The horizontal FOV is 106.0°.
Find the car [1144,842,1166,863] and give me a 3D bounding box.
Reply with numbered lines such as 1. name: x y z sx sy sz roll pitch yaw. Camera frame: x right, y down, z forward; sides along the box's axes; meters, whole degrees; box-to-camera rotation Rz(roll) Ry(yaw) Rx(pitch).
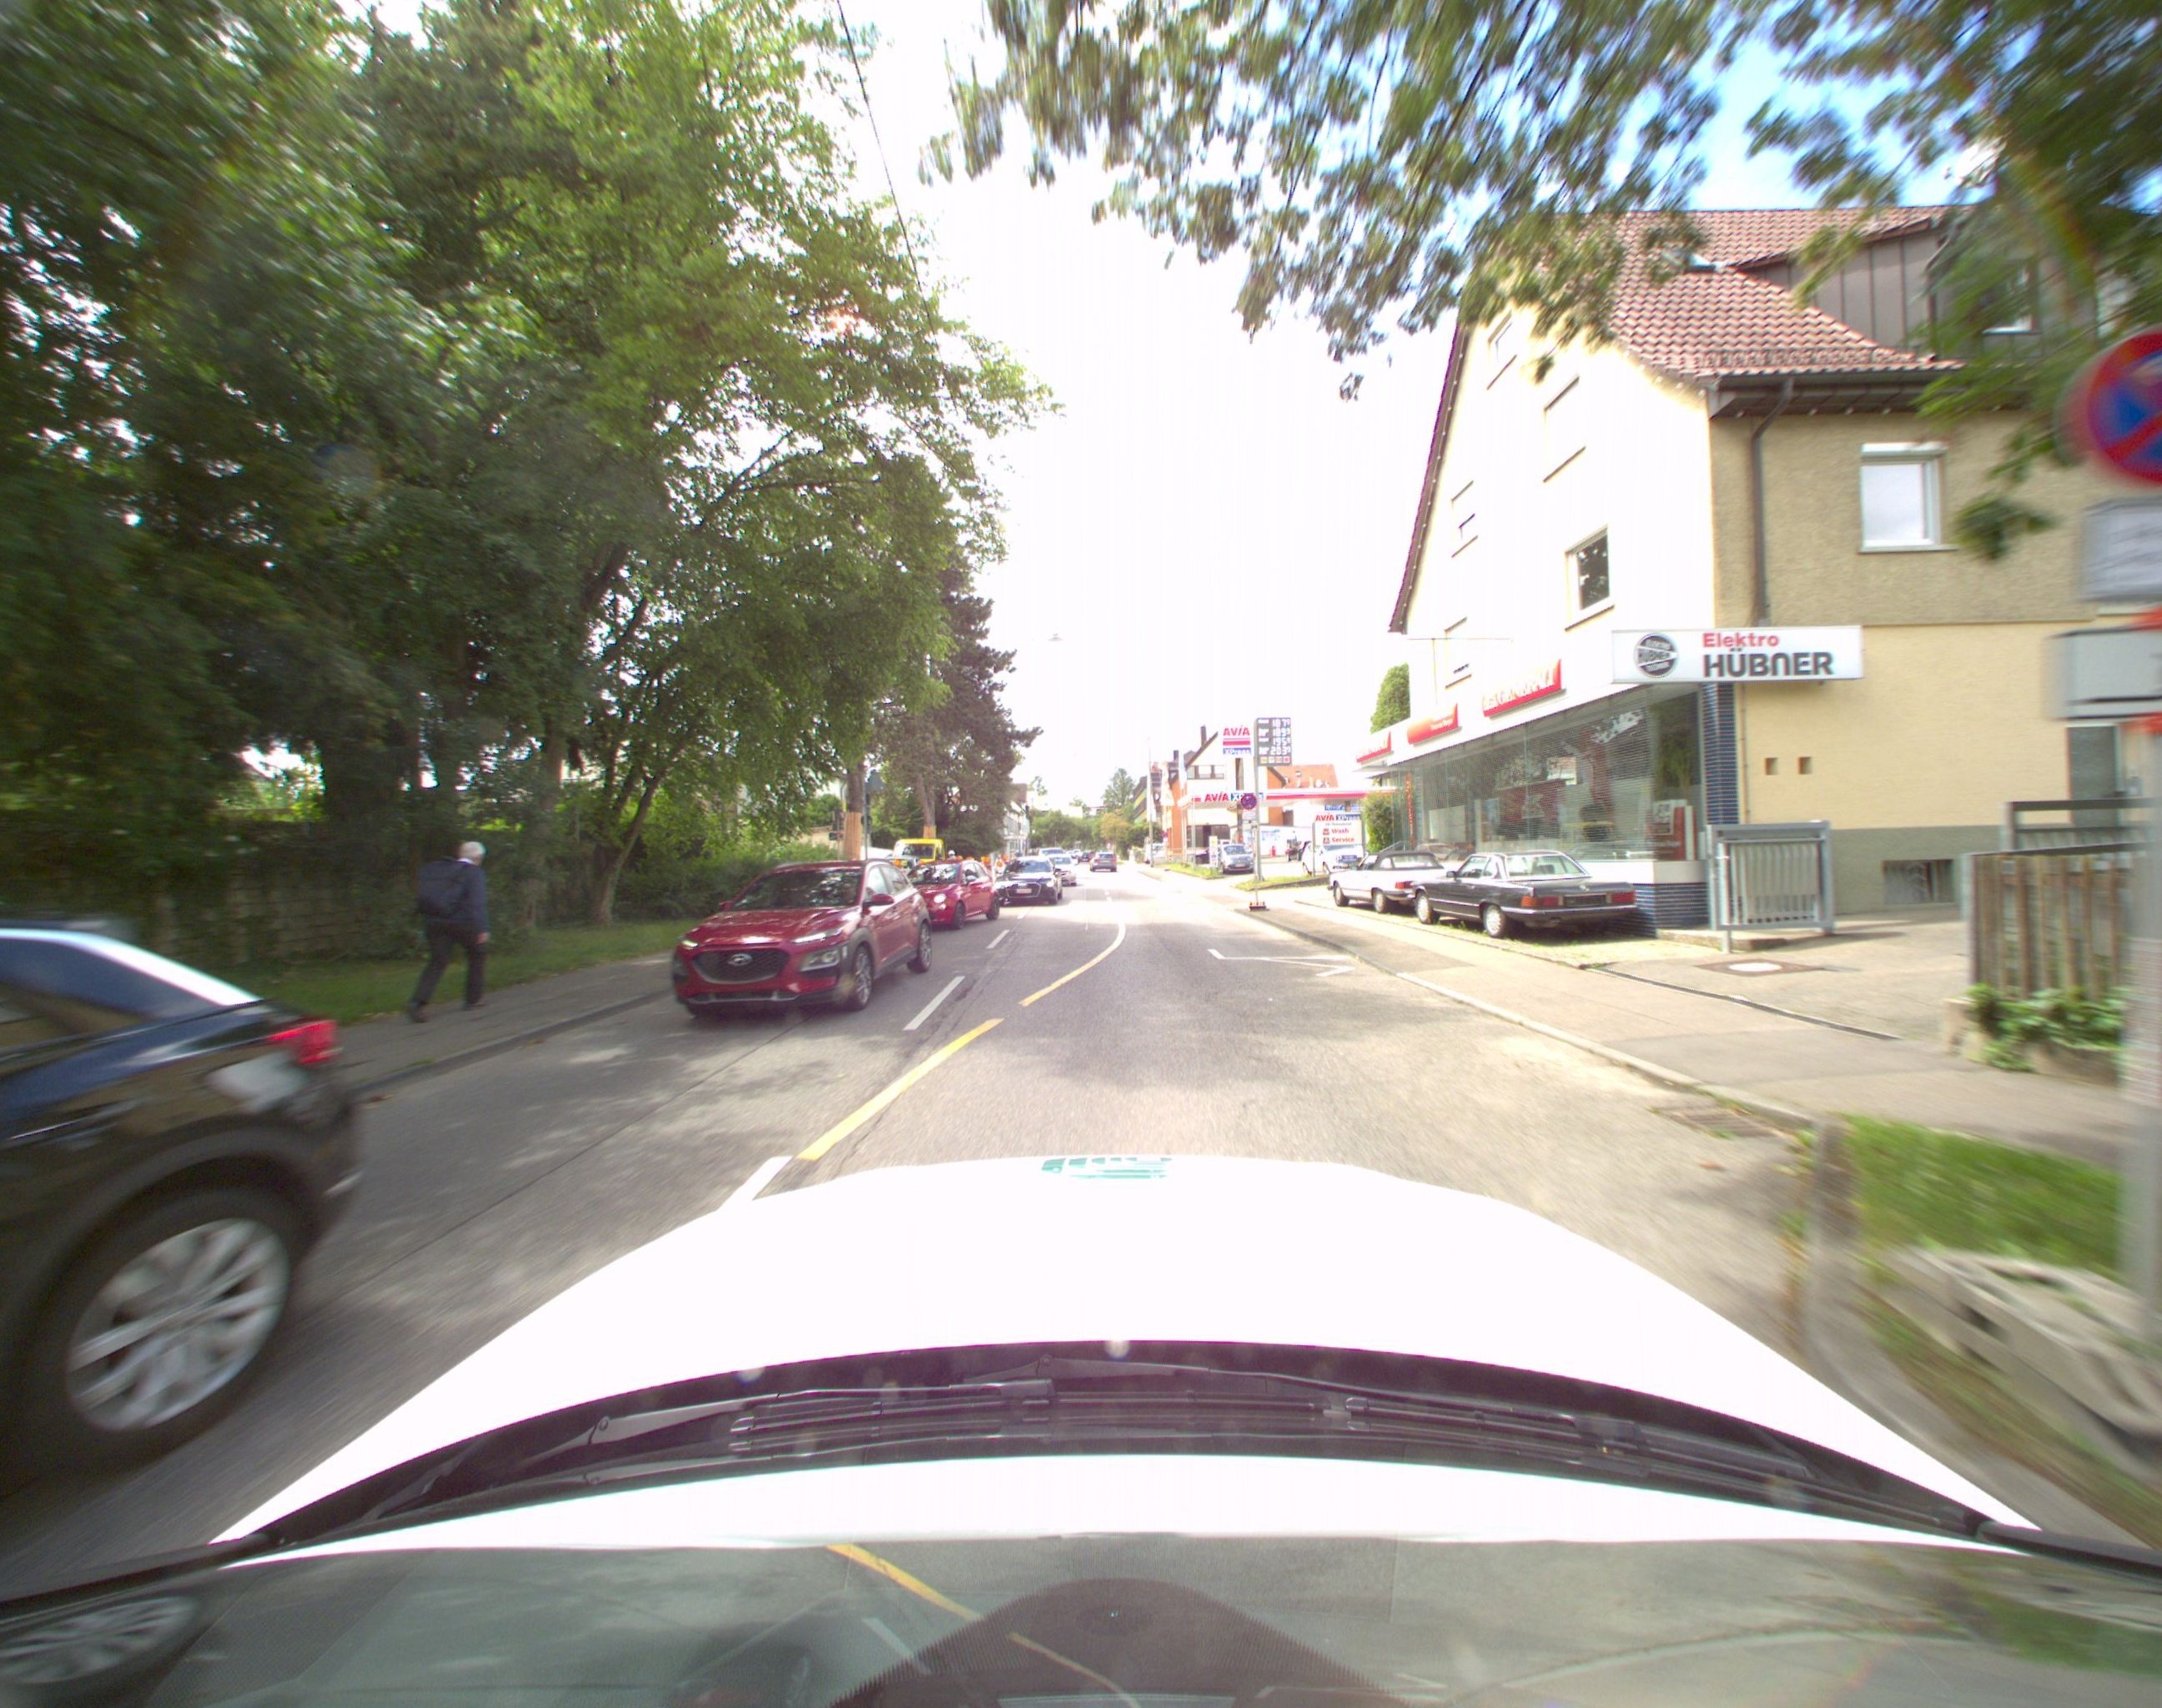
1. car: 7.384 -0.132 81.792 1.986 2.014 4.001 -1 -1 2

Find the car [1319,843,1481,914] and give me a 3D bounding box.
1. car: 6.966 0.490 18.338 1.719 1.364 4.480 -1 0 -3

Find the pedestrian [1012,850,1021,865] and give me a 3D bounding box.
1. pedestrian: -6.373 0.340 80.511 0.701 1.439 0.714 -1 -1 4

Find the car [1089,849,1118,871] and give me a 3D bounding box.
1. car: 1.678 0.435 61.899 1.970 1.513 4.265 2 0 -1

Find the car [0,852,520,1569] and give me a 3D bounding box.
1. car: -3.261 0.805 1.181 1.782 1.542 4.265 -2 0 2

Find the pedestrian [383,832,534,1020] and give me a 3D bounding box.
1. pedestrian: -6.243 0.682 8.242 0.713 1.762 1.120 -1 -1 -5

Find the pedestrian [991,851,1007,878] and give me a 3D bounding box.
1. pedestrian: -4.381 0.580 43.582 0.701 1.439 0.714 -1 -1 4

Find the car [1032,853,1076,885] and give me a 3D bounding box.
1. car: -1.211 0.700 38.706 1.953 1.394 4.294 -1 -1 0

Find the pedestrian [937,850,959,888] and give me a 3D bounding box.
1. pedestrian: -5.134 0.577 31.452 0.709 1.439 0.706 -1 -1 -2

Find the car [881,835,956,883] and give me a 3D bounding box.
1. car: -7.162 0.246 36.500 2.137 1.981 4.934 -1 -1 3

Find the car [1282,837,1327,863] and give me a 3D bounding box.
1. car: 15.508 -0.246 56.624 1.781 1.634 3.686 -4 0 -4

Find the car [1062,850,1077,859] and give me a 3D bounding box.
1. car: -1.891 0.126 136.278 2.102 1.501 4.270 -1 0 3

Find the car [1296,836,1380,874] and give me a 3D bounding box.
1. car: 10.186 0.041 32.565 1.838 1.355 4.063 -1 0 -4

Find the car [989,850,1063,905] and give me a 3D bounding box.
1. car: -1.645 0.709 25.777 1.922 1.578 4.297 -1 -1 1

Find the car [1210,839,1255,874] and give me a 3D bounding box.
1. car: 7.870 0.133 42.701 1.776 1.634 3.696 -4 0 3

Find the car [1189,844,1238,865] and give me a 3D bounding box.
1. car: 10.973 0.038 67.437 3.963 1.684 1.795 -1 -1 9

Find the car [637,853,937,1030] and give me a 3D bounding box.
1. car: -3.041 0.801 9.453 1.754 1.533 4.099 -2 0 3

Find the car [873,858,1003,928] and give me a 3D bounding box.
1. car: -3.107 0.822 18.364 1.679 1.425 3.448 -1 -1 12

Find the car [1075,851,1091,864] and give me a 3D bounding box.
1. car: 0.273 0.424 98.402 1.809 1.501 4.268 0 0 1

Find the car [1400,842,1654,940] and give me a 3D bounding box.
1. car: 6.946 0.501 13.286 1.719 1.316 4.263 0 0 -2
